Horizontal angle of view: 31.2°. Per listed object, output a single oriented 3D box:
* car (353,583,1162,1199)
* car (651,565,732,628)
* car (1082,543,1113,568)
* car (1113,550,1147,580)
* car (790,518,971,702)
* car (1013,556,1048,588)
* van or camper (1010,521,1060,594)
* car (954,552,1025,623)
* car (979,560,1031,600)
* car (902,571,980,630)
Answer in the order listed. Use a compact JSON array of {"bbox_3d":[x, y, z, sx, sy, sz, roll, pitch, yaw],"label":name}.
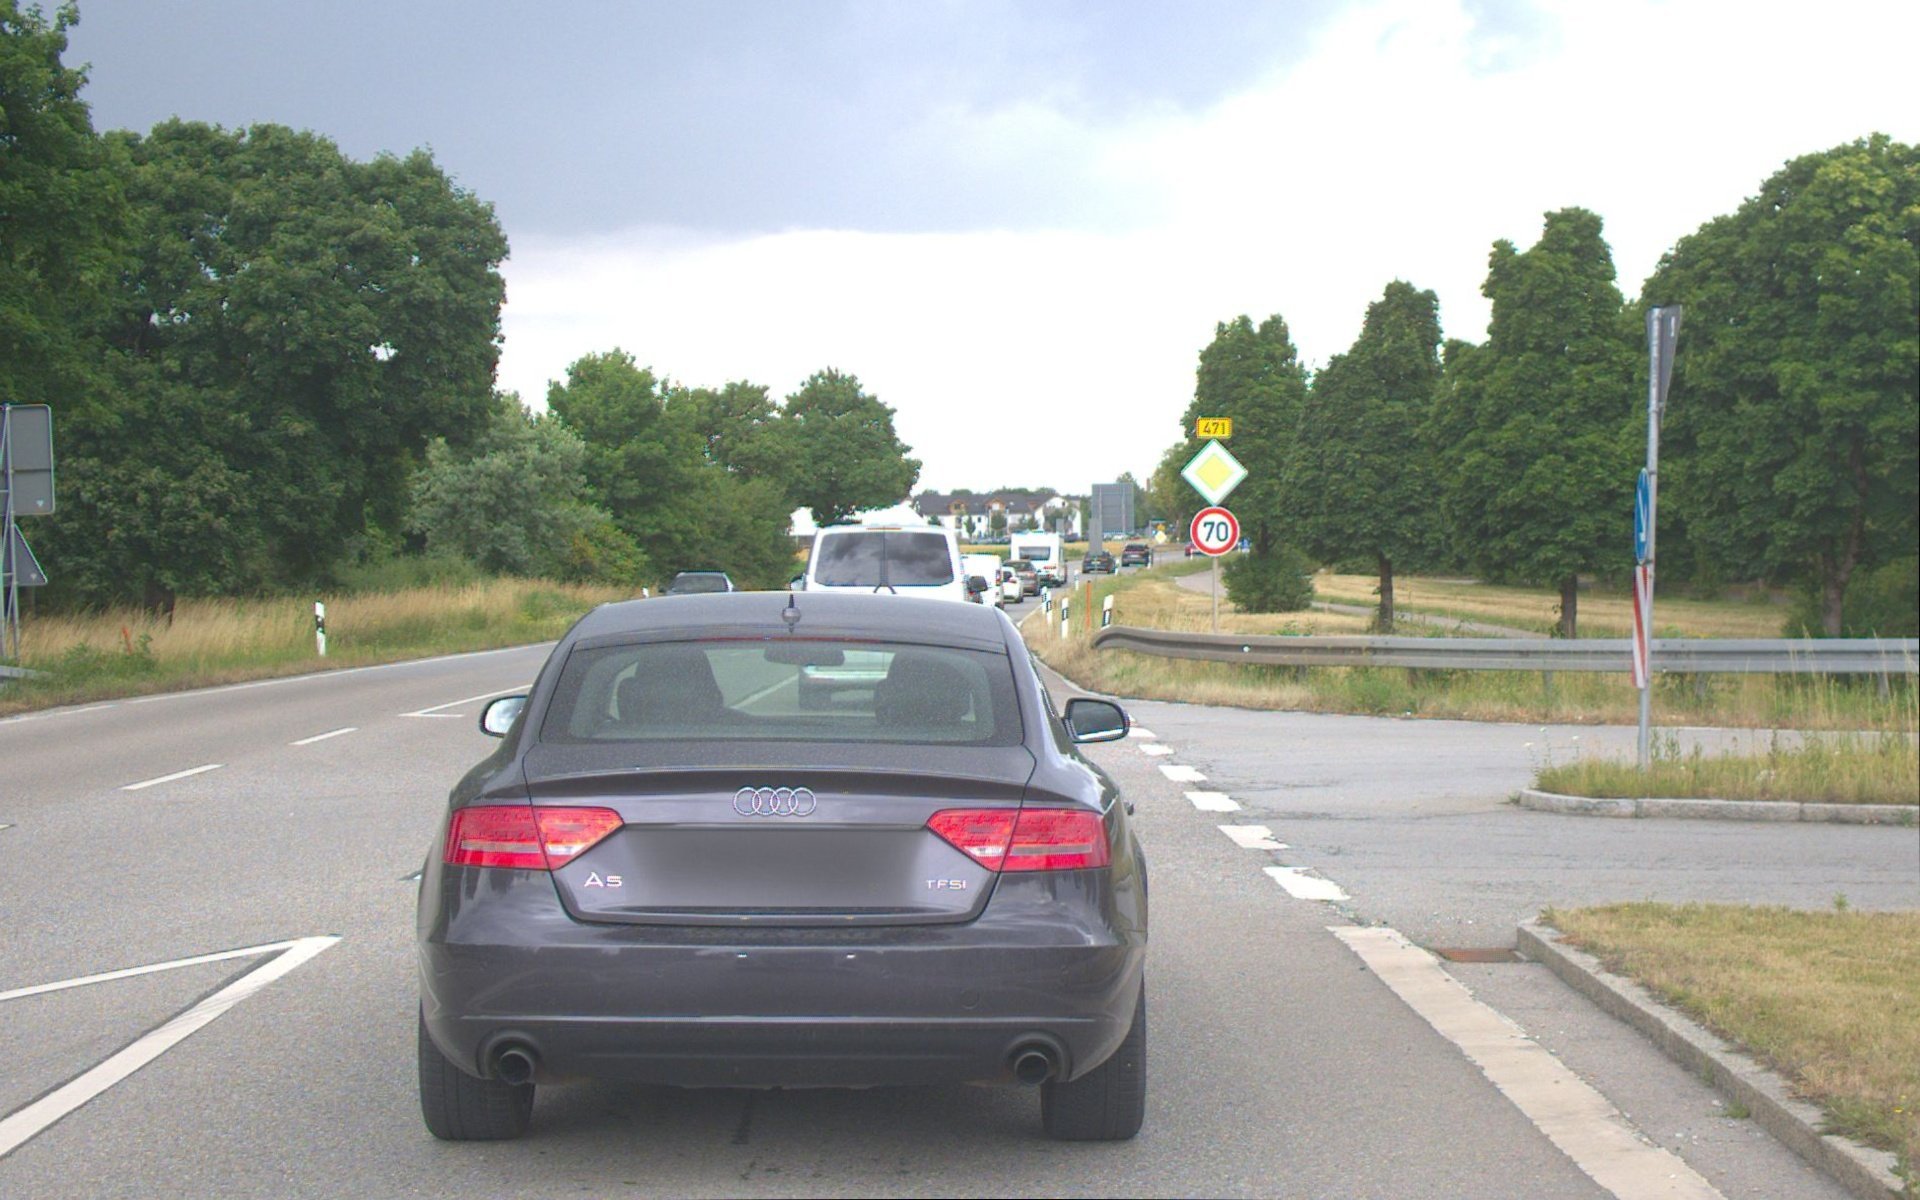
[{"bbox_3d":[-0.475,0.677,9.647,1.783,1.372,4.000,1,1,-1],"label":"car"},{"bbox_3d":[-6.631,-0.097,85.180,1.711,1.517,4.000,0,1,0],"label":"car"},{"bbox_3d":[8.197,-2.669,204.761,1.719,1.446,4.000,1,1,1],"label":"car"},{"bbox_3d":[11.423,-2.347,231.298,1.993,2.007,4.000,0,1,-1],"label":"car"},{"bbox_3d":[-0.847,0.062,37.544,1.838,1.876,4.000,1,1,-1],"label":"car"},{"bbox_3d":[3.030,-1.200,147.617,1.258,1.349,3.465,0,1,5],"label":"car"},{"bbox_3d":[3.617,-2.051,165.931,2.340,3.469,5.718,0,1,1],"label":"van or camper"},{"bbox_3d":[0.902,-0.401,103.025,1.994,2.081,4.000,0,1,2],"label":"car"},{"bbox_3d":[1.778,-0.784,133.752,1.736,1.509,3.746,0,1,5],"label":"car"},{"bbox_3d":[-0.461,0.002,87.046,1.796,1.459,3.248,0,1,3],"label":"car"}]
